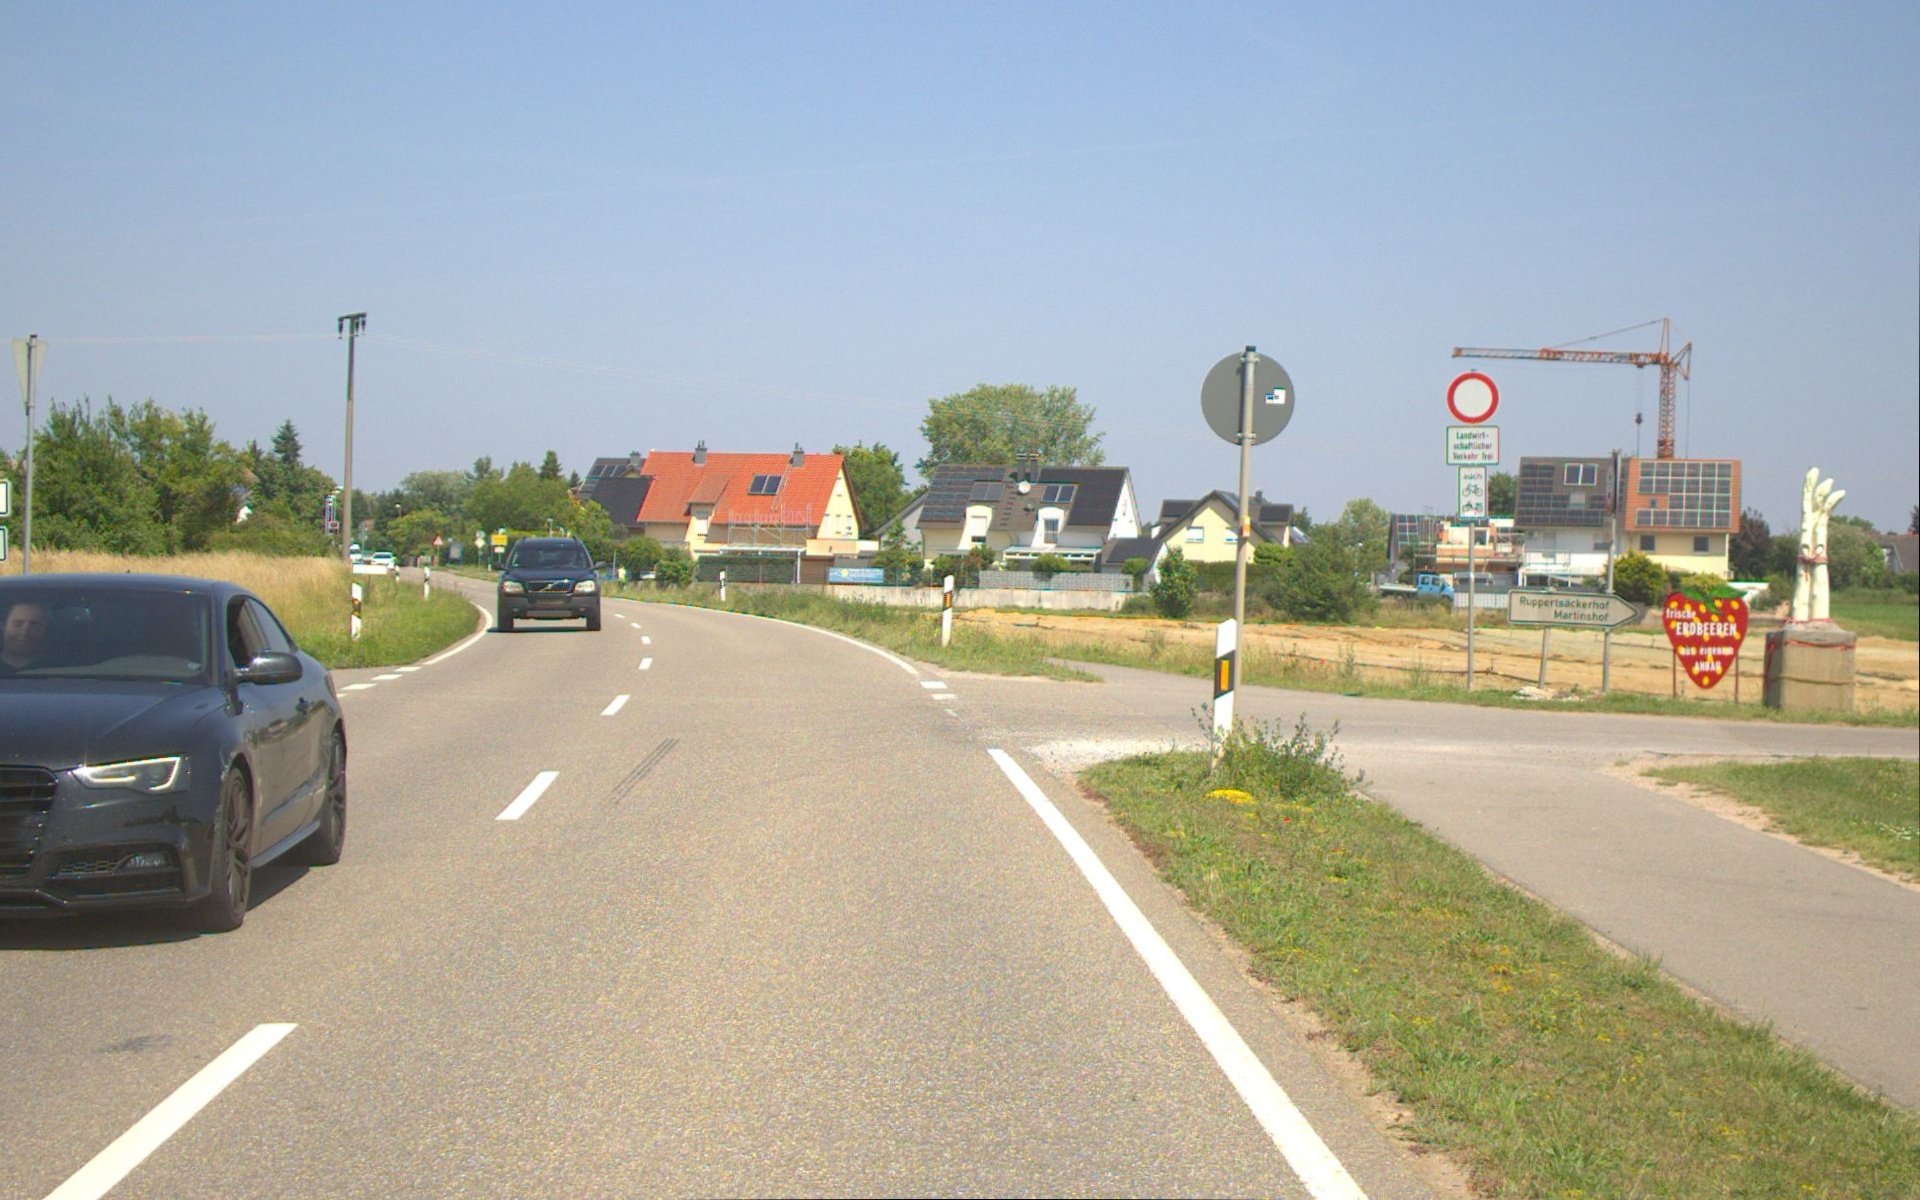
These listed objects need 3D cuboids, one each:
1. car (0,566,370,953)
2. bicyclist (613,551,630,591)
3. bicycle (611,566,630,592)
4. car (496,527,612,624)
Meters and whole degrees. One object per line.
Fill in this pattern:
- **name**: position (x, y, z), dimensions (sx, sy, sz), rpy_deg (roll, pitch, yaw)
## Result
- **car**: position (-3.693, 0.556, 14.610), dimensions (1.741, 1.352, 4.419), rpy_deg (0, 1, -2)
- **bicyclist**: position (-16.224, -1.382, 164.856), dimensions (0.644, 1.883, 0.861), rpy_deg (3, 1, -12)
- **bicycle**: position (-16.289, -1.023, 165.087), dimensions (0.610, 1.155, 2.275), rpy_deg (3, 1, -12)
- **car**: position (-7.587, -0.487, 64.670), dimensions (1.933, 1.745, 5.205), rpy_deg (0, 1, -4)
